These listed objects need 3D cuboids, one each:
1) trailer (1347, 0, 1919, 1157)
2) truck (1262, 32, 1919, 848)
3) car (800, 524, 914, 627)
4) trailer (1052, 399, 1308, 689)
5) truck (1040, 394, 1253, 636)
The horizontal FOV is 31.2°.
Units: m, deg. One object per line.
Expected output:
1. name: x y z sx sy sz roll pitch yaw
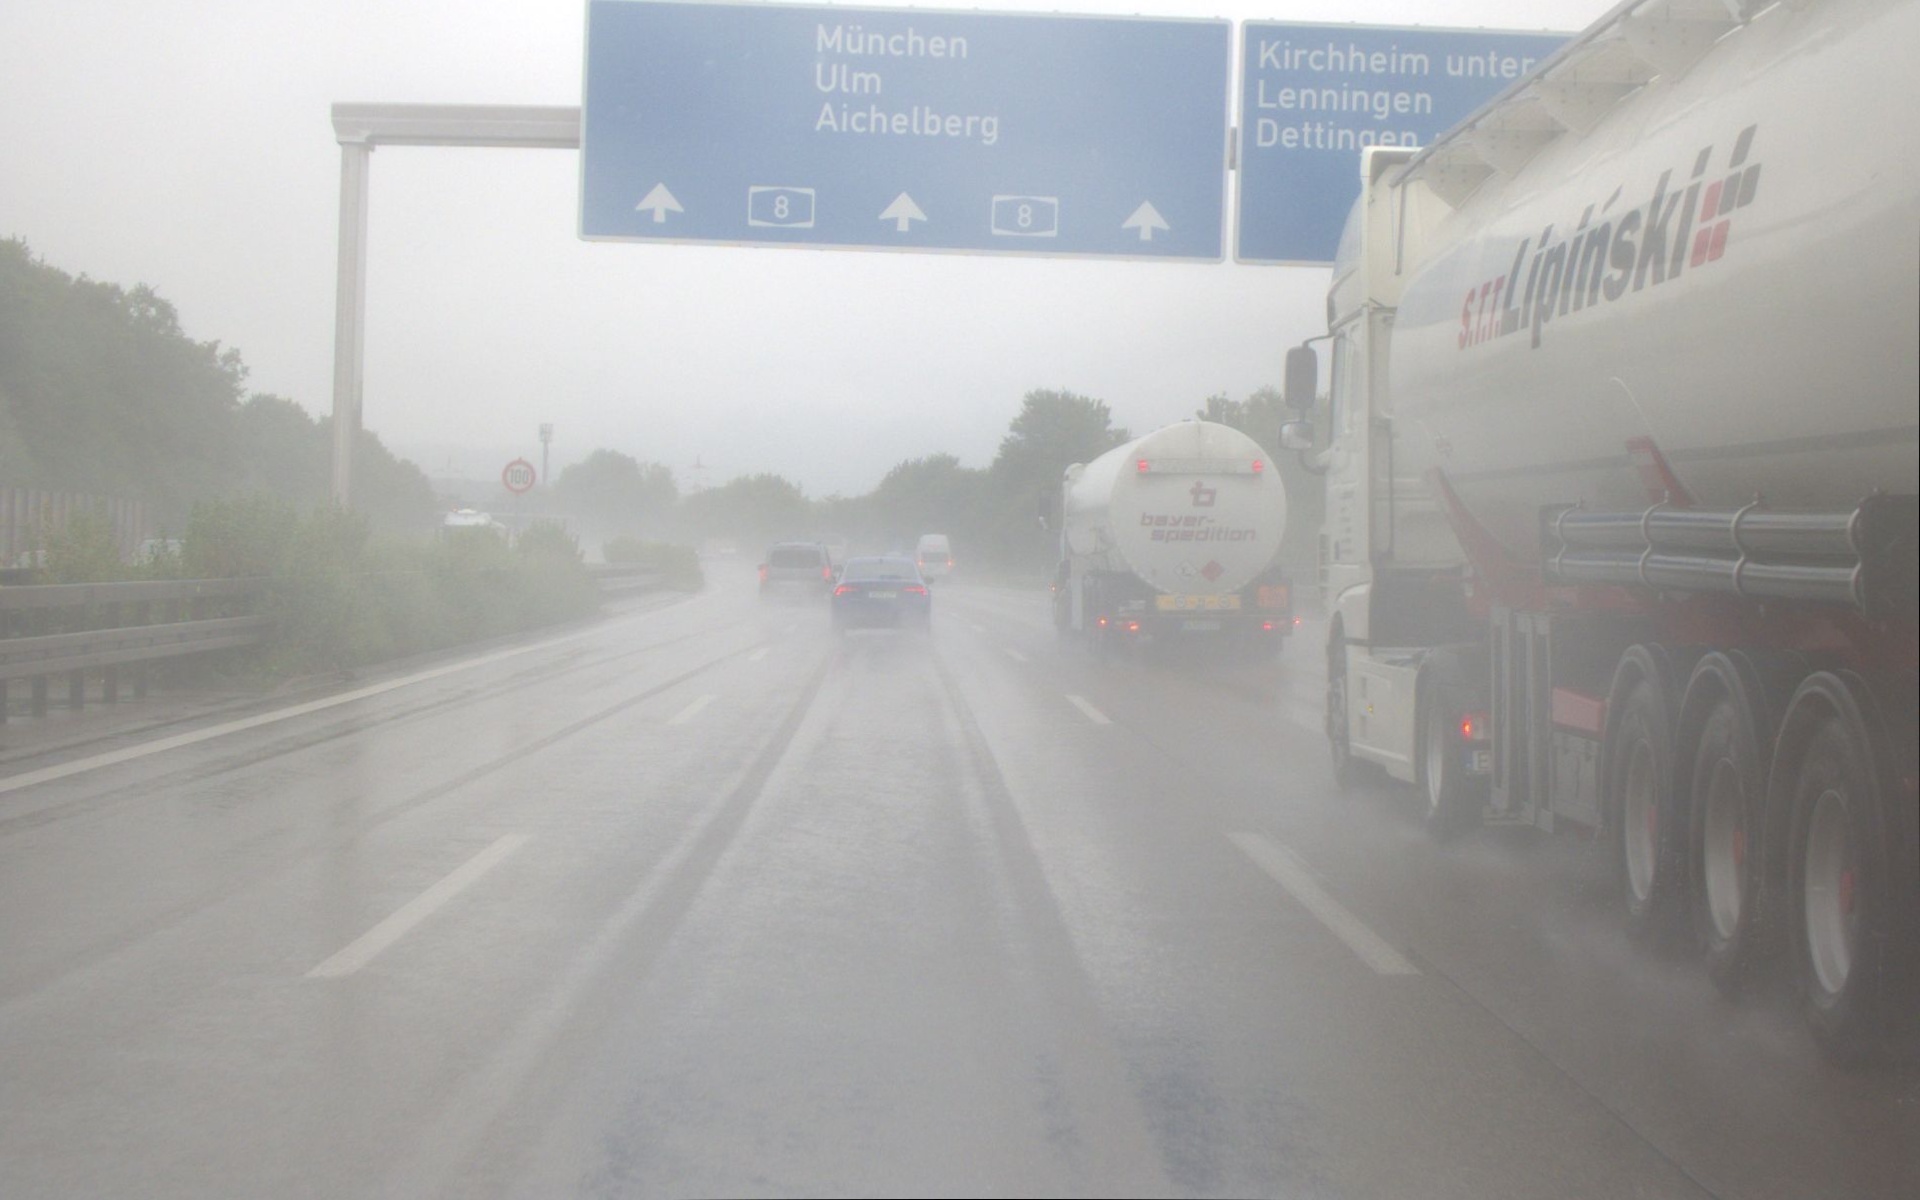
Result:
1. trailer: 3.836 -0.581 12.854 3.188 3.657 11.668 1 1 -1
2. truck: 3.697 -0.806 19.702 3.104 3.793 7.213 0 1 -1
3. car: -1.824 -0.475 62.056 1.978 1.750 4.482 0 2 -1
4. trailer: 3.051 -0.831 50.119 3.004 3.834 8.624 1 1 -1
5. truck: 2.942 -1.370 55.946 2.943 3.671 6.362 1 1 -1
